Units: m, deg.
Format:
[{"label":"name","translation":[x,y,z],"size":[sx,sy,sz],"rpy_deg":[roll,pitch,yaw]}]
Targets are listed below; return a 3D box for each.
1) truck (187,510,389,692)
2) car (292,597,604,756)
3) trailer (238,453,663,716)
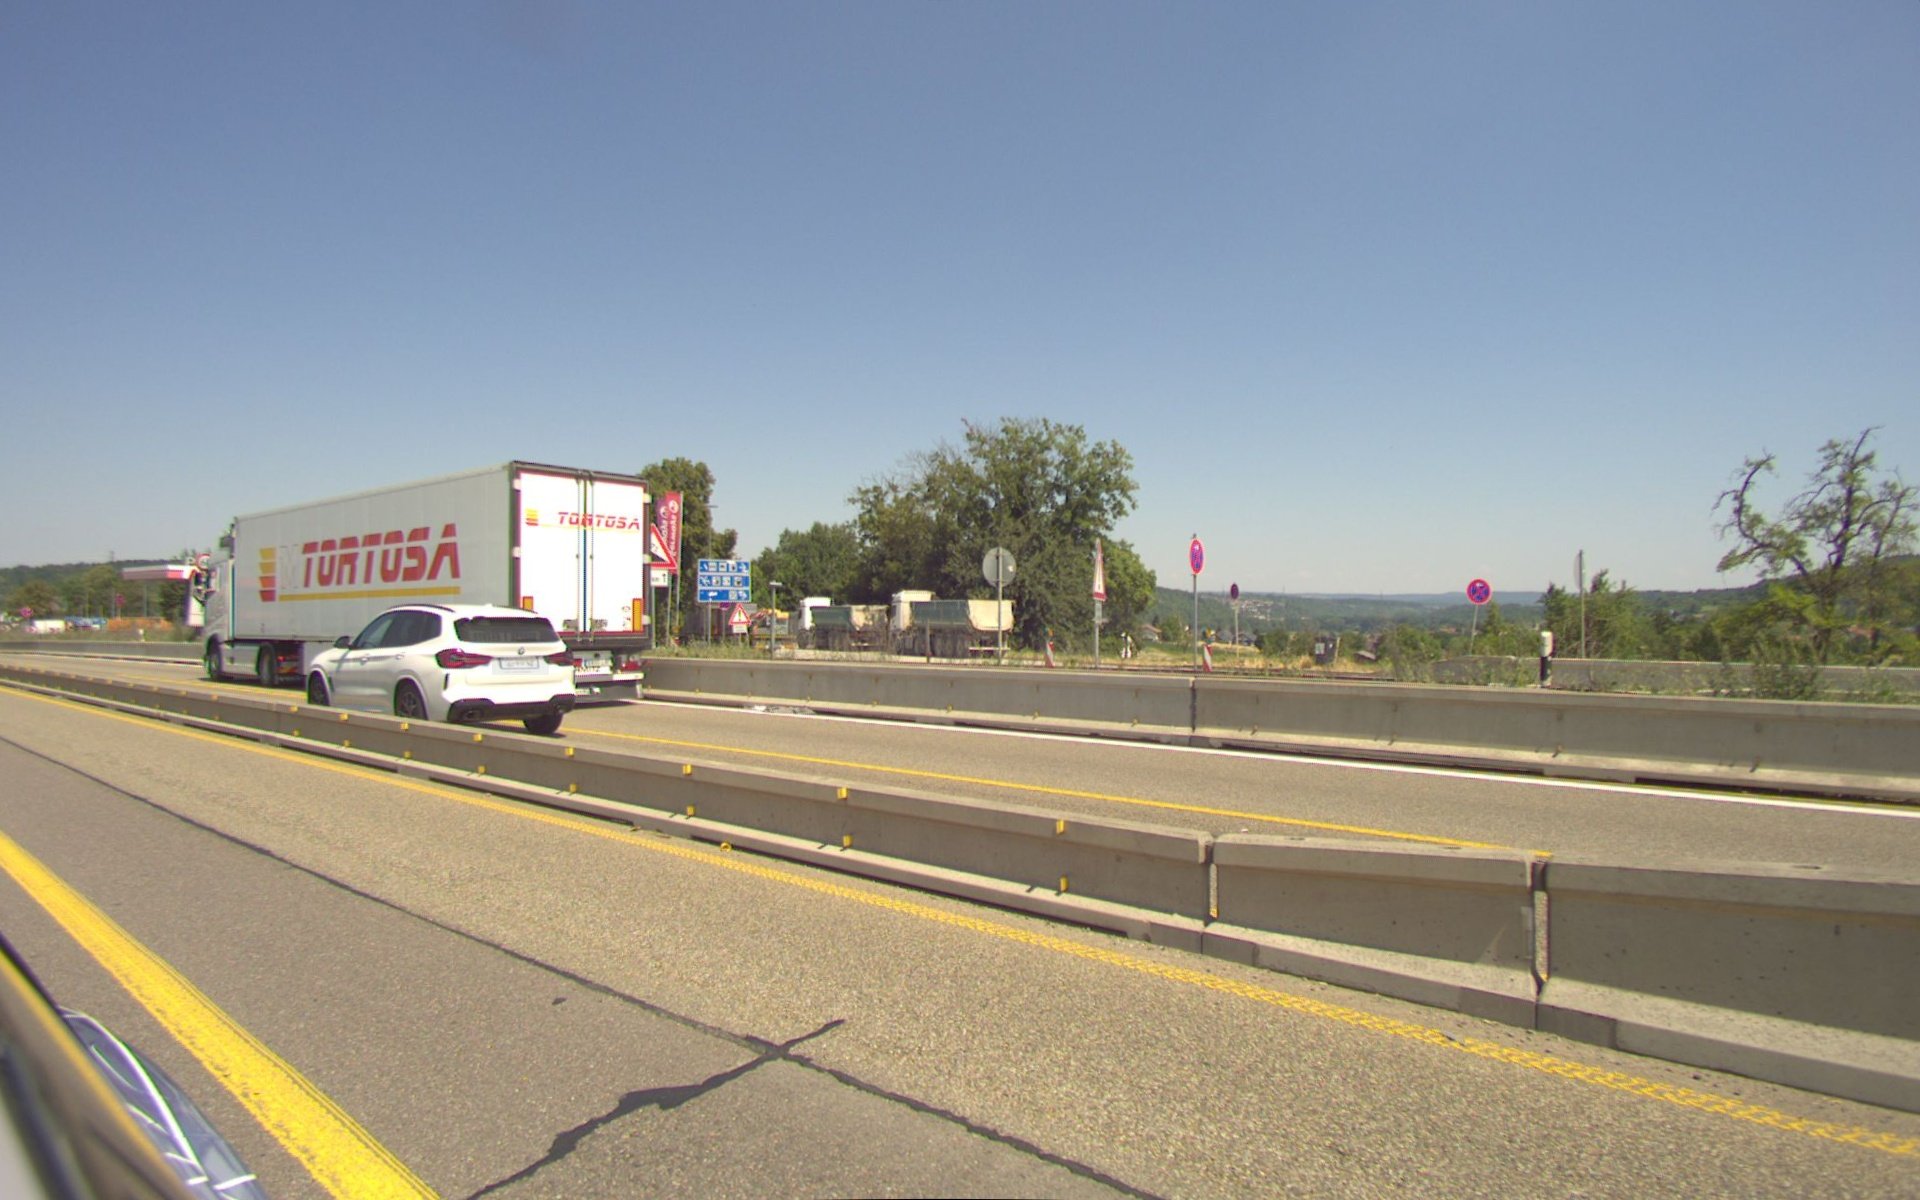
[{"label":"truck","translation":[-17.311,0.050,25.979],"size":[5.452,4.163,2.803],"rpy_deg":[-1,-1,39]},{"label":"car","translation":[-6.867,0.905,13.392],"size":[4.487,1.752,1.974],"rpy_deg":[-1,-2,38]},{"label":"trailer","translation":[-11.278,-0.086,21.102],"size":[13.108,4.125,2.788],"rpy_deg":[-2,-1,39]}]
